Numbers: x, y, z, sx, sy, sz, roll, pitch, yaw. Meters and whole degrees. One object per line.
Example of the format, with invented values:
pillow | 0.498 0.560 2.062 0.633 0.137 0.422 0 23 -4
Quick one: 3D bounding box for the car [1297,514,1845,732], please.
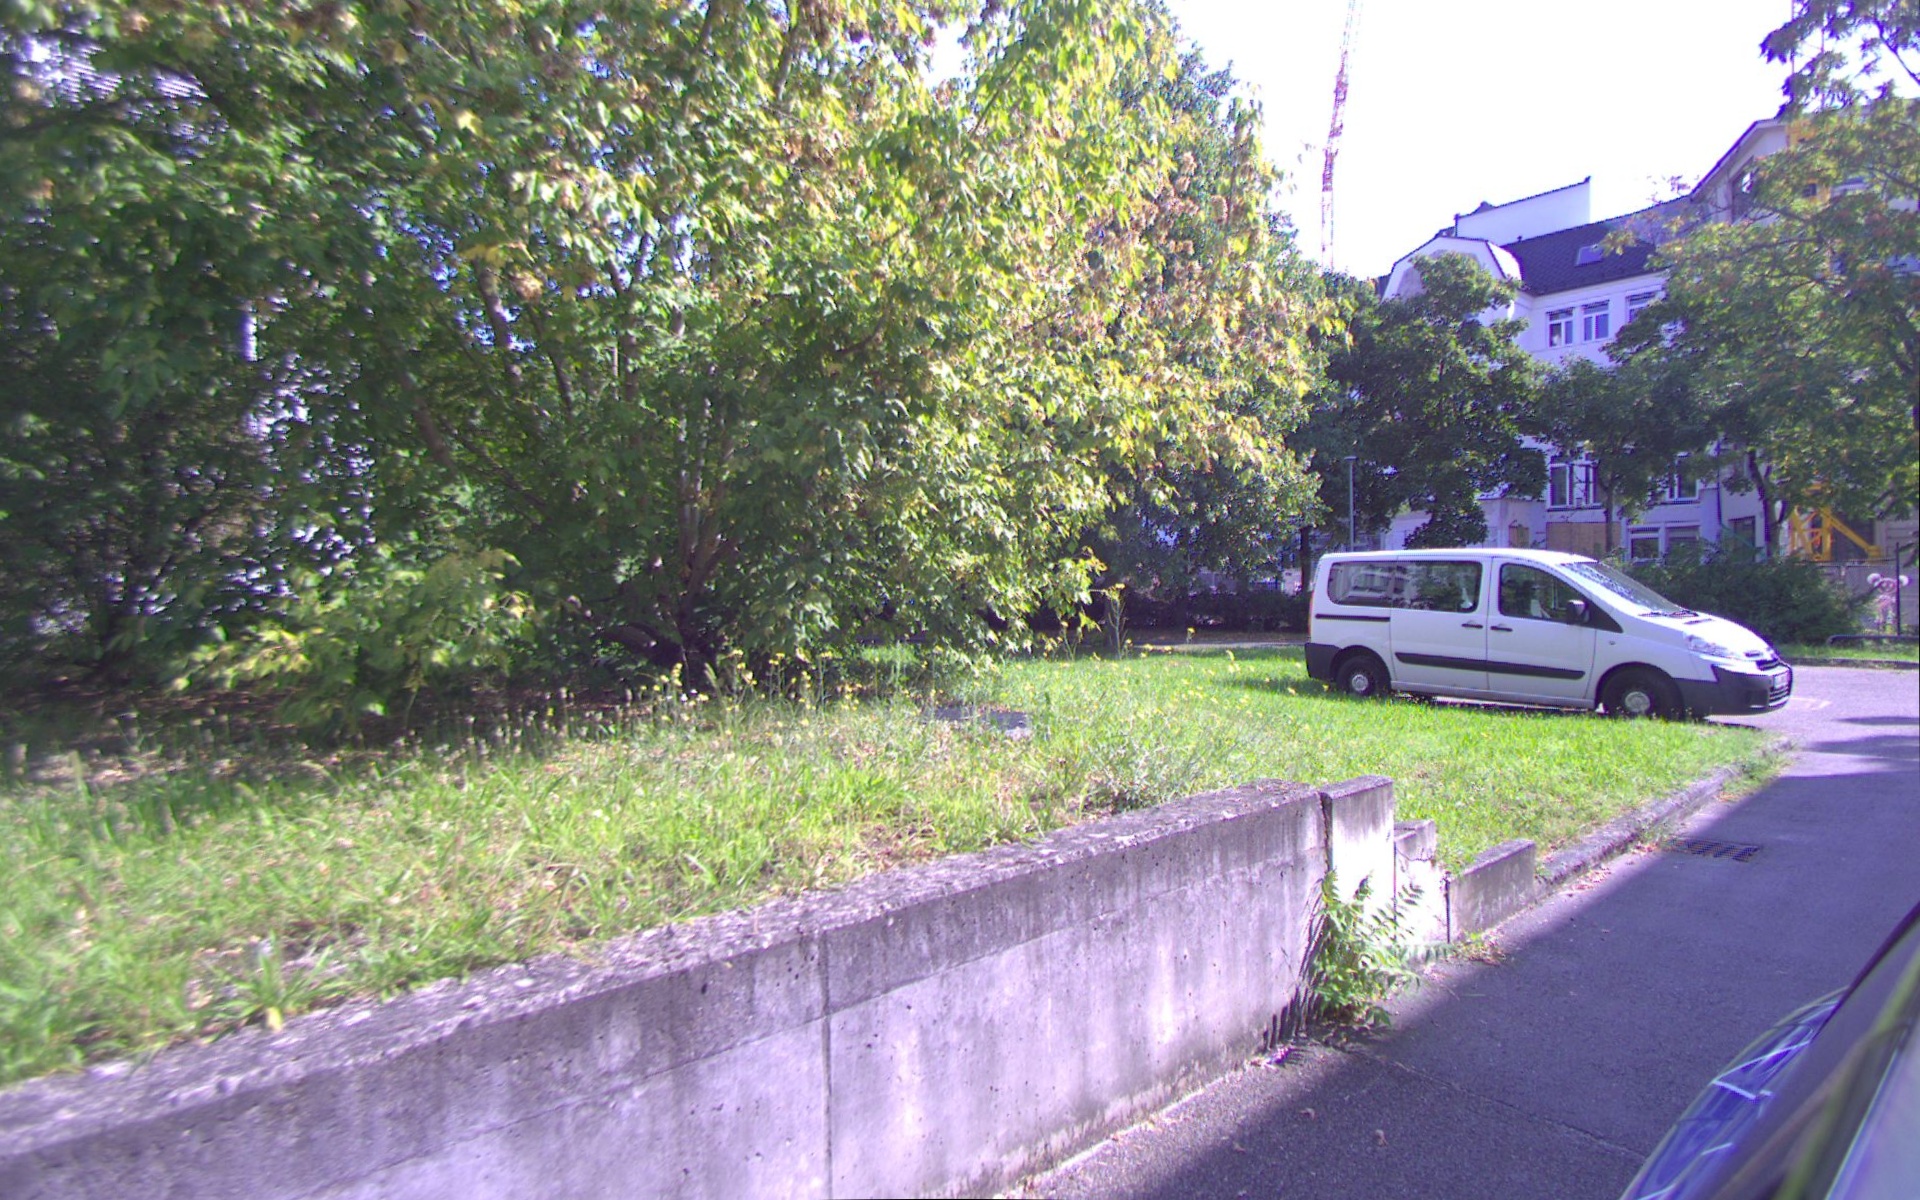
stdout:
car | 6.650 0.201 11.607 2.007 1.945 4.968 -3 1 -38
